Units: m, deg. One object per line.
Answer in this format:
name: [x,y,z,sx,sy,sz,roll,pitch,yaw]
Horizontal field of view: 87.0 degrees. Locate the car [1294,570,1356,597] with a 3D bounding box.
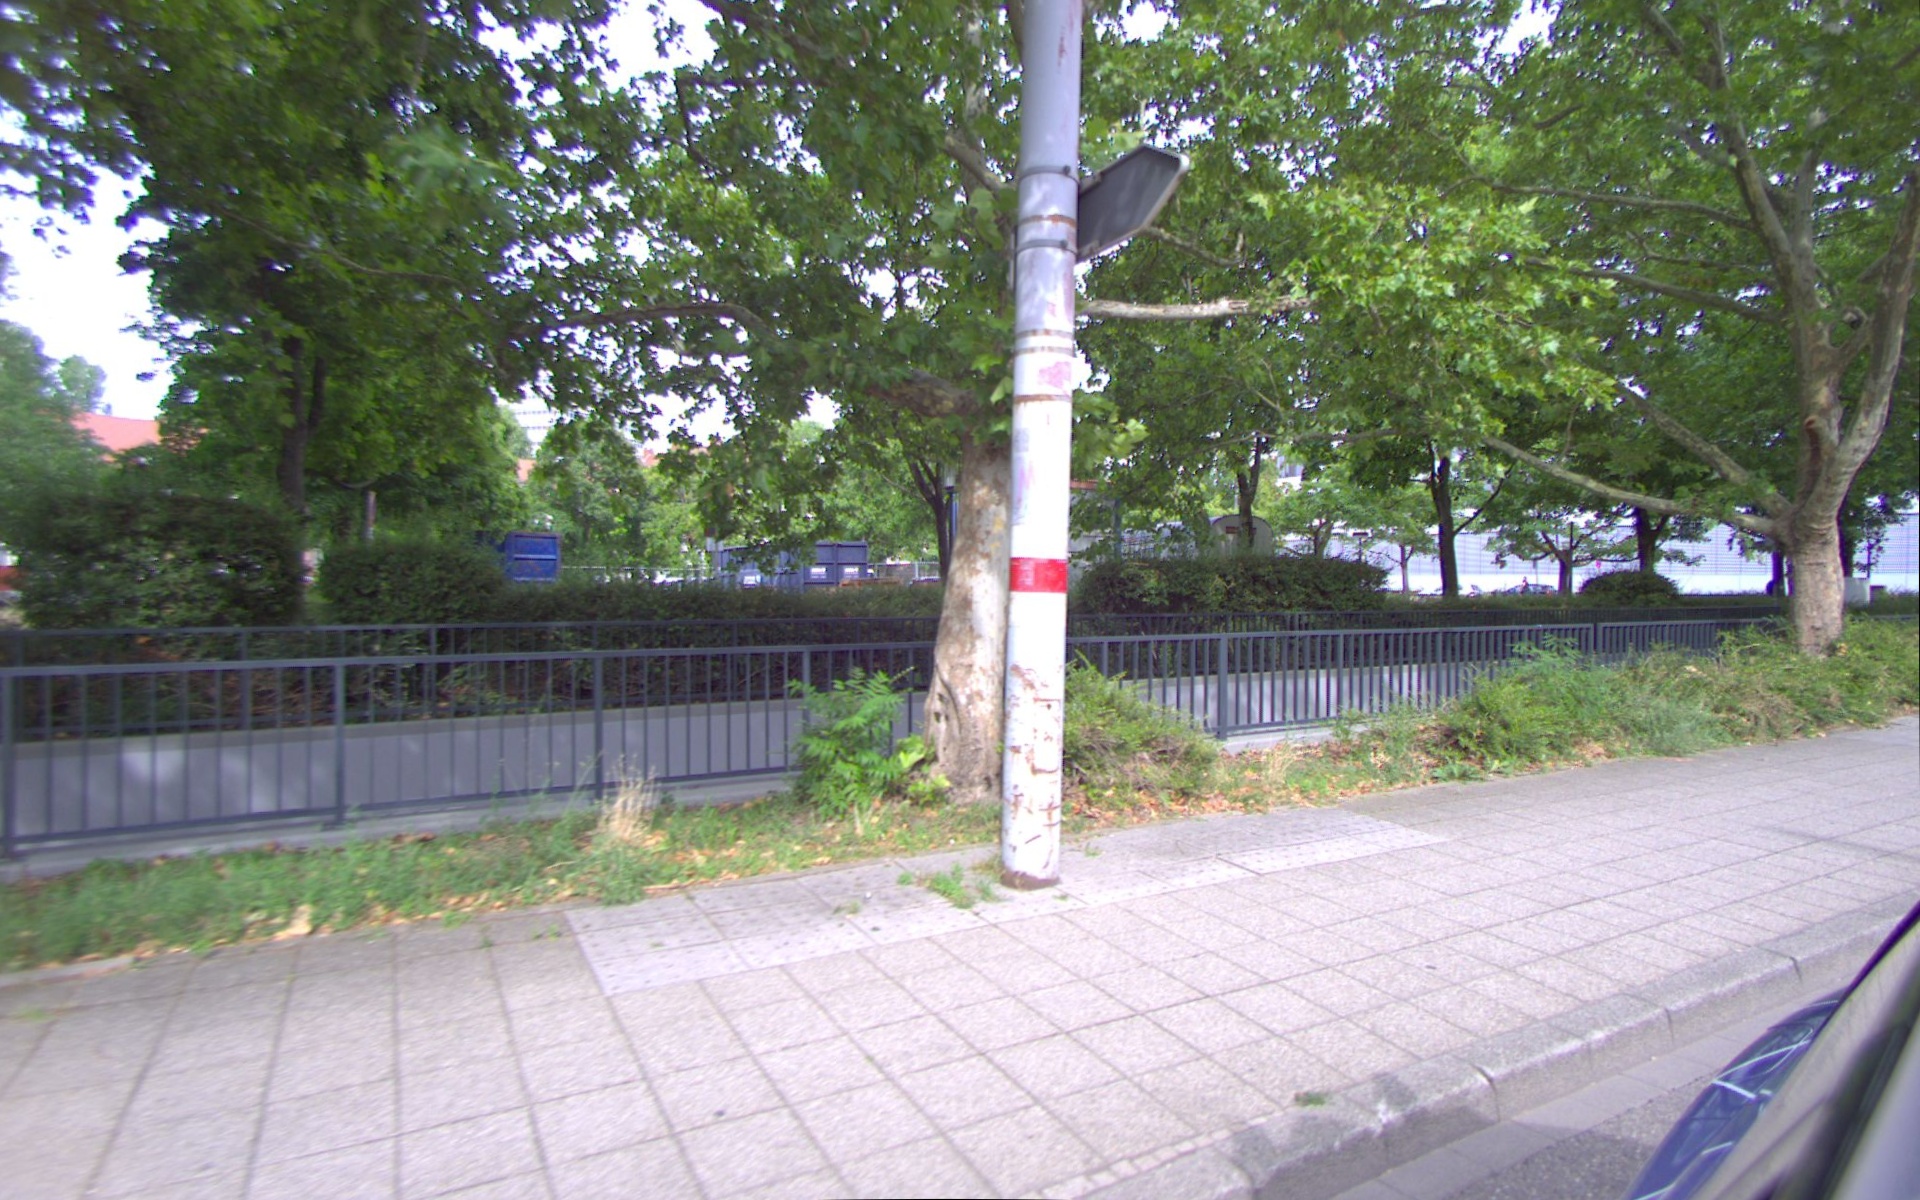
car: [26.821,-1.201,74.500,1.918,1.885,3.876,0,-1,-38]

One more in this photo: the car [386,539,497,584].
car: [-25.420,-1.837,49.683,4.680,2.039,2.001,0,-1,-33]

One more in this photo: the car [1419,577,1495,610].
car: [32.551,-0.400,66.338,1.964,2.039,3.996,0,-1,-38]

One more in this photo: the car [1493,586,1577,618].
car: [35.020,0.111,61.708,1.964,1.883,3.996,0,-1,-38]
